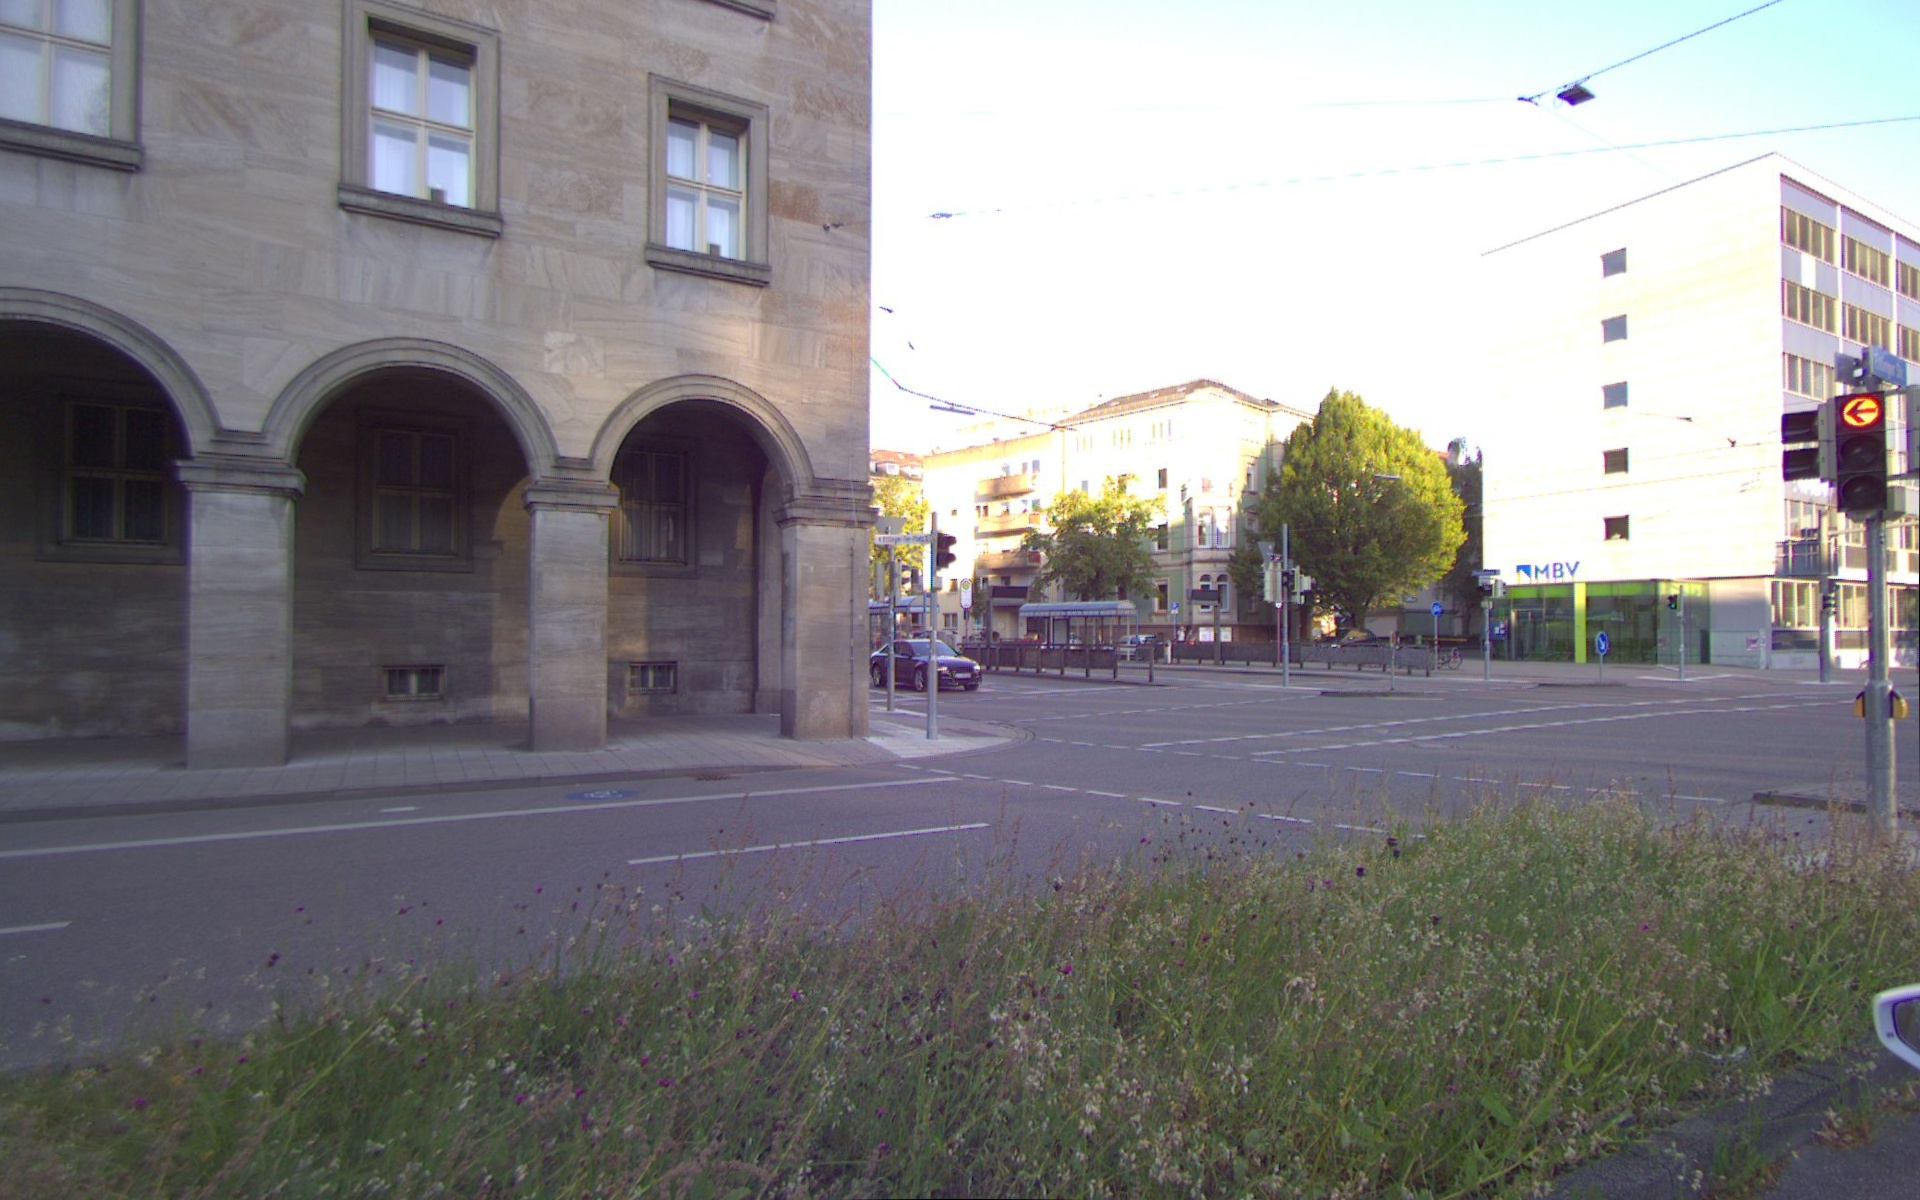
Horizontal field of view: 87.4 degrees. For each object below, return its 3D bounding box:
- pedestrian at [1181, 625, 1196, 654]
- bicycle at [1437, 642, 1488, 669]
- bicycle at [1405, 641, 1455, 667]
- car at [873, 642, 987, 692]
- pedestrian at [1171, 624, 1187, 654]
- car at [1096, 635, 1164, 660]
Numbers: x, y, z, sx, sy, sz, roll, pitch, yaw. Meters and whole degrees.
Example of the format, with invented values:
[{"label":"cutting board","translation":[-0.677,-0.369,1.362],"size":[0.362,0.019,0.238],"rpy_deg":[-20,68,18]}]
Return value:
[{"label":"pedestrian","translation":[14.074,2.425,61.897],"size":[0.718,1.813,0.634],"rpy_deg":[2,-2,-43]},{"label":"bicycle","translation":[21.737,2.385,43.448],"size":[2.183,1.127,0.834],"rpy_deg":[1,-2,-26]},{"label":"bicycle","translation":[20.969,2.418,44.786],"size":[2.183,1.127,0.834],"rpy_deg":[1,-2,-26]},{"label":"car","translation":[-0.958,1.942,29.793],"size":[1.791,1.344,4.120],"rpy_deg":[1,-2,-27]},{"label":"pedestrian","translation":[13.361,2.375,61.266],"size":[0.718,1.813,0.634],"rpy_deg":[2,-2,-44]},{"label":"car","translation":[9.998,2.774,59.227],"size":[3.545,1.390,1.830],"rpy_deg":[-2,-3,45]}]
